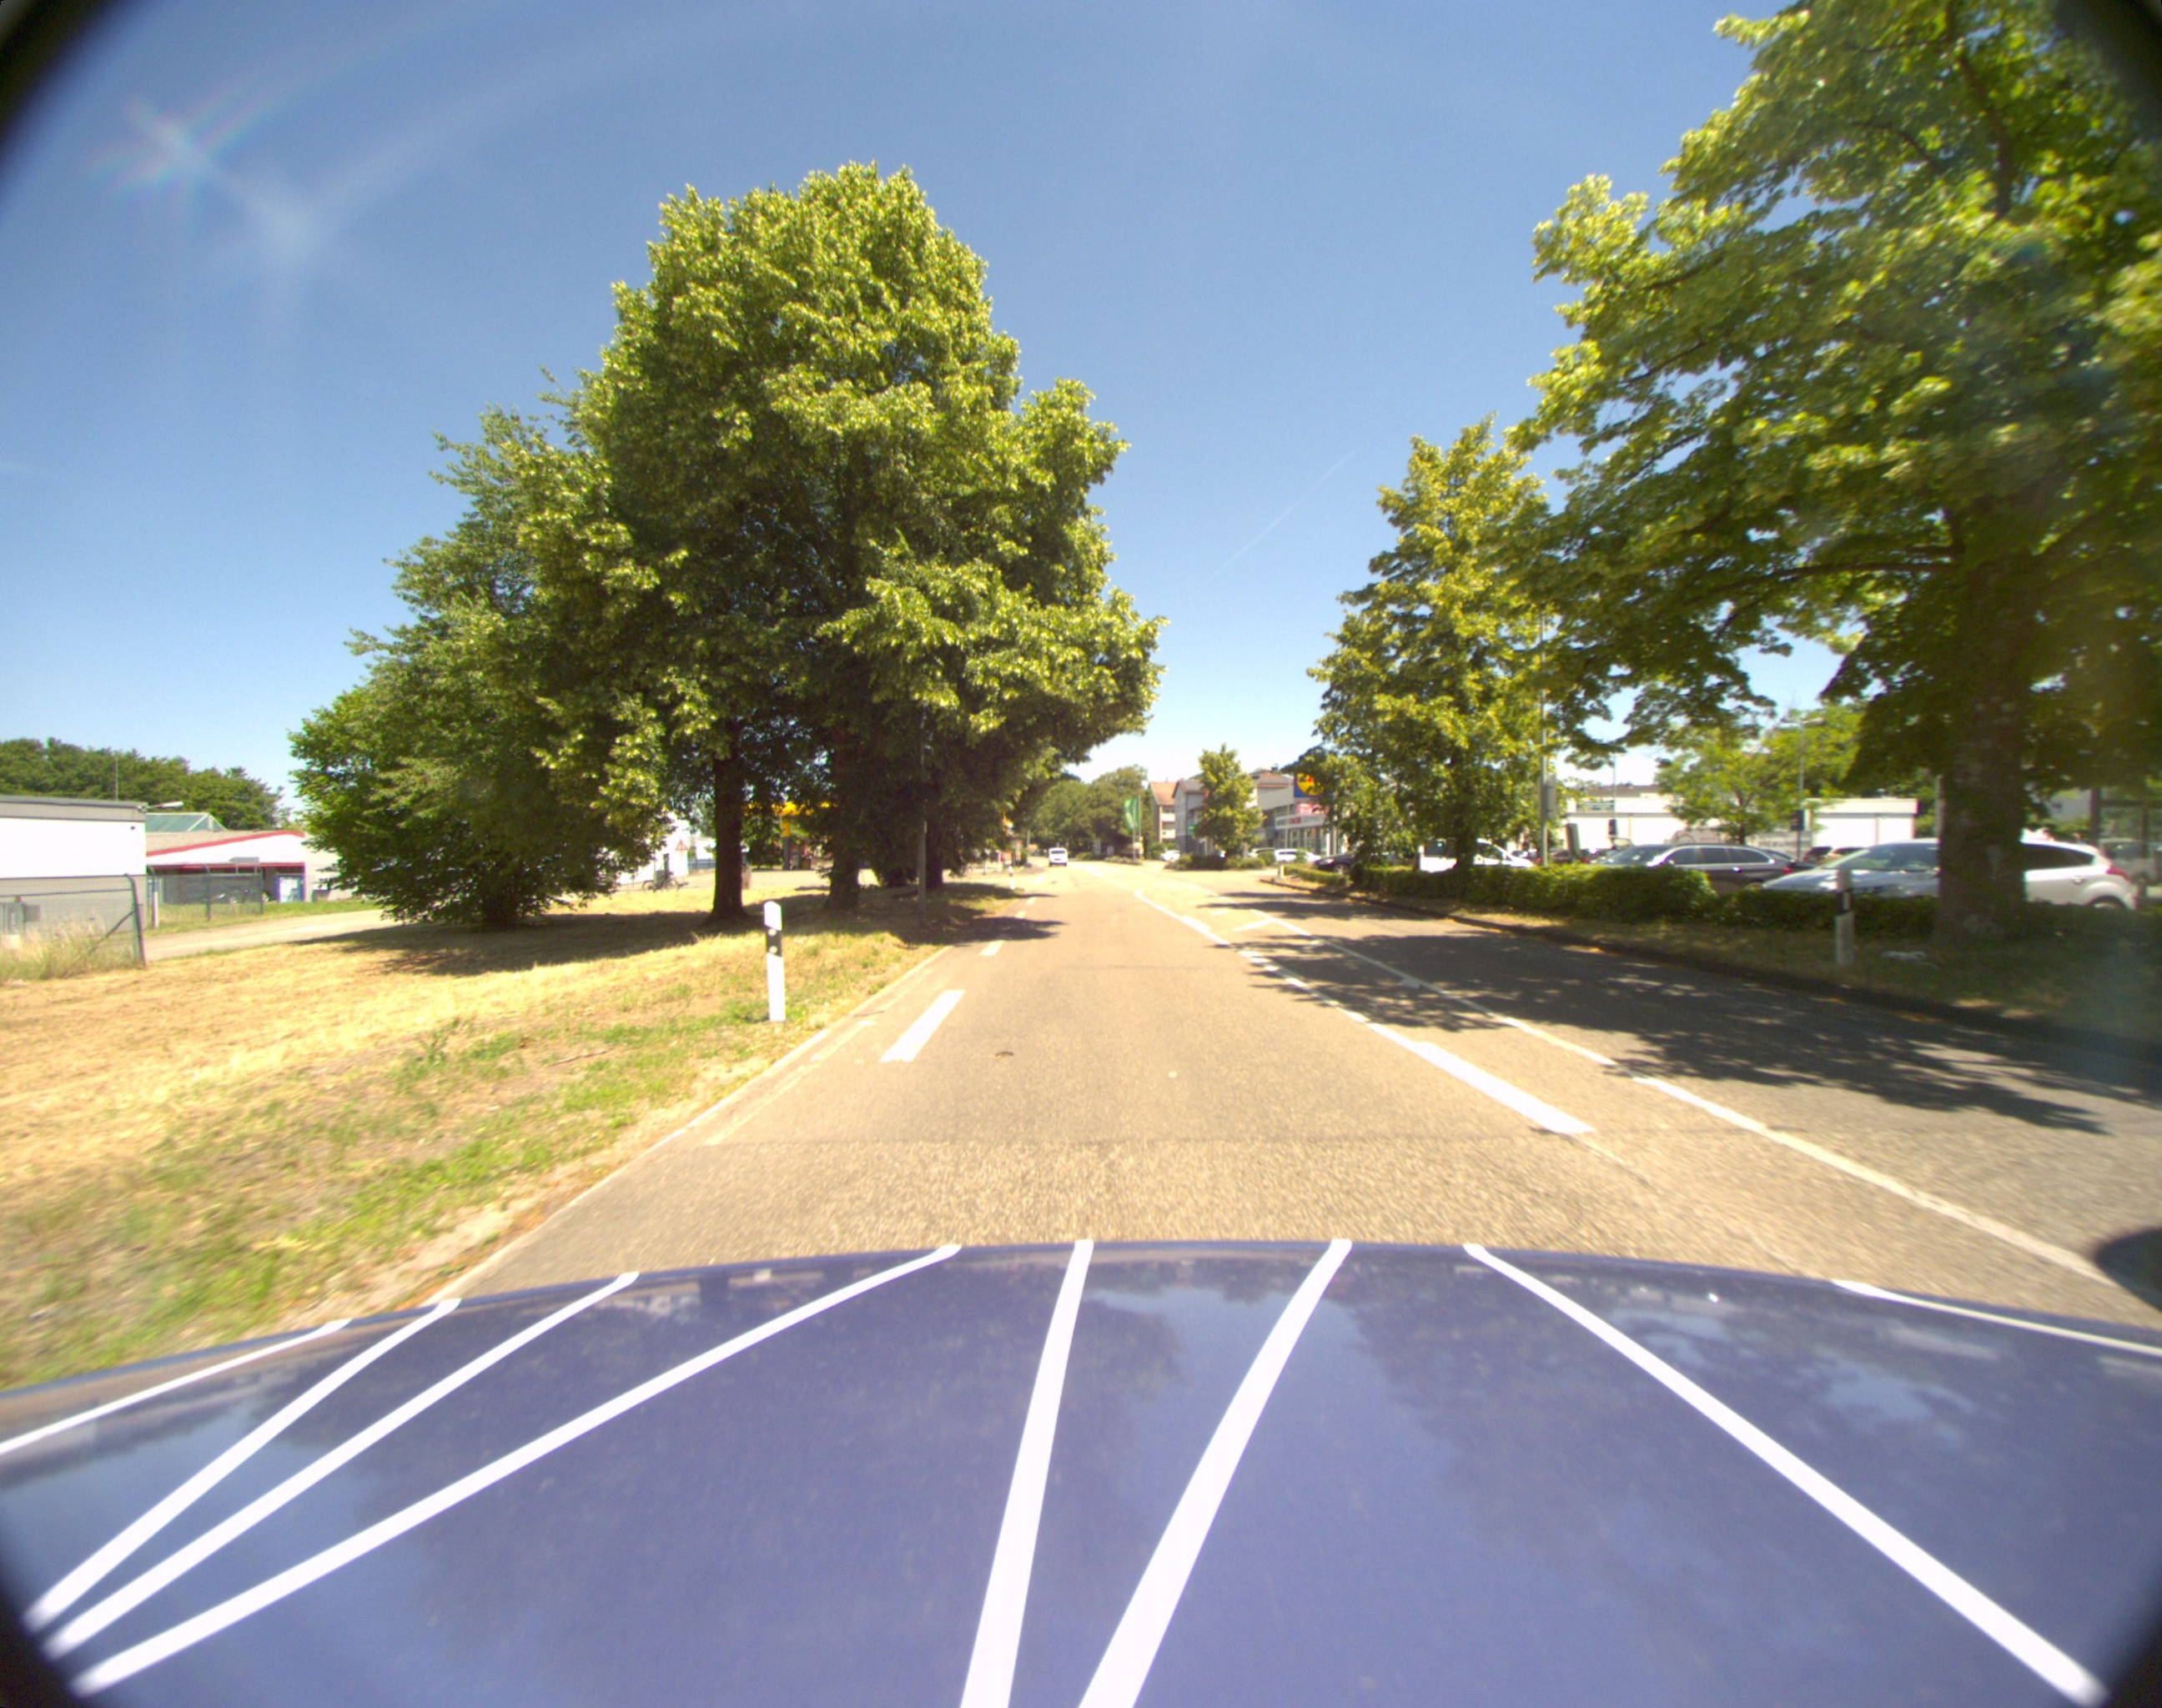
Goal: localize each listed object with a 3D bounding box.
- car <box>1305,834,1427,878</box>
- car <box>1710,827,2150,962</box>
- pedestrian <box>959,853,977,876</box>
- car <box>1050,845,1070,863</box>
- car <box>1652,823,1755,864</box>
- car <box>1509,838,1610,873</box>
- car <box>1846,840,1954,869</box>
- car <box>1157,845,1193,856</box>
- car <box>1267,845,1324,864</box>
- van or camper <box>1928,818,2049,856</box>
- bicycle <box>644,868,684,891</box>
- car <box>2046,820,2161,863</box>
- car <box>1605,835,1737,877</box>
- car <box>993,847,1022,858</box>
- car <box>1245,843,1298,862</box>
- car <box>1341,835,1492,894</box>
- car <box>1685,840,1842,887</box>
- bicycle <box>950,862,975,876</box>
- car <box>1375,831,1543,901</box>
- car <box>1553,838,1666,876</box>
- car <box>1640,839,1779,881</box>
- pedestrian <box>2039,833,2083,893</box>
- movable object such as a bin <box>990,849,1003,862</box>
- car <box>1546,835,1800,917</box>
[{"bbox_3d":[12.721,0.059,34.162,4.718,1.752,2.098,-2,2,3],"label":"car"},{"bbox_3d":[12.134,0.523,11.080,4.412,1.611,1.894,-2,1,-2],"label":"car"},{"bbox_3d":[-7.327,0.680,49.320,0.869,1.413,0.769,-2,2,-41],"label":"pedestrian"},{"bbox_3d":[-2.337,0.002,83.805,1.797,1.904,3.637,-1,1,-7],"label":"car"},{"bbox_3d":[43.790,-0.764,53.718,2.287,2.612,5.897,-2,1,-2],"label":"car"},{"bbox_3d":[24.176,0.054,38.443,4.249,1.580,1.767,-2,2,-9],"label":"car"},{"bbox_3d":[42.664,0.019,39.600,4.249,1.361,1.767,-2,2,-9],"label":"car"},{"bbox_3d":[12.663,-0.482,102.368,4.361,1.431,1.935,-1,1,-27],"label":"car"},{"bbox_3d":[17.106,0.024,60.772,4.190,1.438,1.981,-1,1,11],"label":"car"},{"bbox_3d":[49.826,-0.937,41.795,4.373,1.925,2.009,-2,2,-2],"label":"van or camper"},{"bbox_3d":[-20.889,1.283,38.062,1.697,1.091,0.468,-1,2,1],"label":"bicycle"},{"bbox_3d":[41.433,-0.514,29.896,1.798,1.592,3.998,-2,1,-1],"label":"car"},{"bbox_3d":[25.836,0.048,33.363,4.324,1.646,2.113,-2,2,-5],"label":"car"},{"bbox_3d":[-10.826,-0.218,112.387,4.237,1.526,1.957,0,0,-6],"label":"car"},{"bbox_3d":[17.155,-0.127,68.579,4.537,1.654,2.002,-1,1,14],"label":"car"},{"bbox_3d":[11.640,0.337,26.614,4.394,1.835,2.104,-2,2,5],"label":"car"},{"bbox_3d":[24.939,0.323,27.838,4.324,1.521,1.826,-2,2,-5],"label":"car"},{"bbox_3d":[-7.742,0.972,49.625,1.601,0.907,0.378,-2,1,-41],"label":"bicycle"},{"bbox_3d":[11.802,0.327,23.901,4.368,1.969,1.904,-2,2,-3],"label":"car"},{"bbox_3d":[25.066,0.113,36.110,4.326,1.597,1.910,-2,2,-9],"label":"car"},{"bbox_3d":[25.551,0.195,30.983,4.324,1.521,1.826,-2,2,-5],"label":"car"},{"bbox_3d":[30.295,0.274,23.490,0.754,1.796,0.770,-3,2,-33],"label":"pedestrian"},{"bbox_3d":[-9.929,0.155,89.072,1.438,1.429,1.467,1,1,-5],"label":"movable object such as a bin"},{"bbox_3d":[12.739,0.432,16.533,4.039,1.516,1.933,-2,1,-2],"label":"car"}]
